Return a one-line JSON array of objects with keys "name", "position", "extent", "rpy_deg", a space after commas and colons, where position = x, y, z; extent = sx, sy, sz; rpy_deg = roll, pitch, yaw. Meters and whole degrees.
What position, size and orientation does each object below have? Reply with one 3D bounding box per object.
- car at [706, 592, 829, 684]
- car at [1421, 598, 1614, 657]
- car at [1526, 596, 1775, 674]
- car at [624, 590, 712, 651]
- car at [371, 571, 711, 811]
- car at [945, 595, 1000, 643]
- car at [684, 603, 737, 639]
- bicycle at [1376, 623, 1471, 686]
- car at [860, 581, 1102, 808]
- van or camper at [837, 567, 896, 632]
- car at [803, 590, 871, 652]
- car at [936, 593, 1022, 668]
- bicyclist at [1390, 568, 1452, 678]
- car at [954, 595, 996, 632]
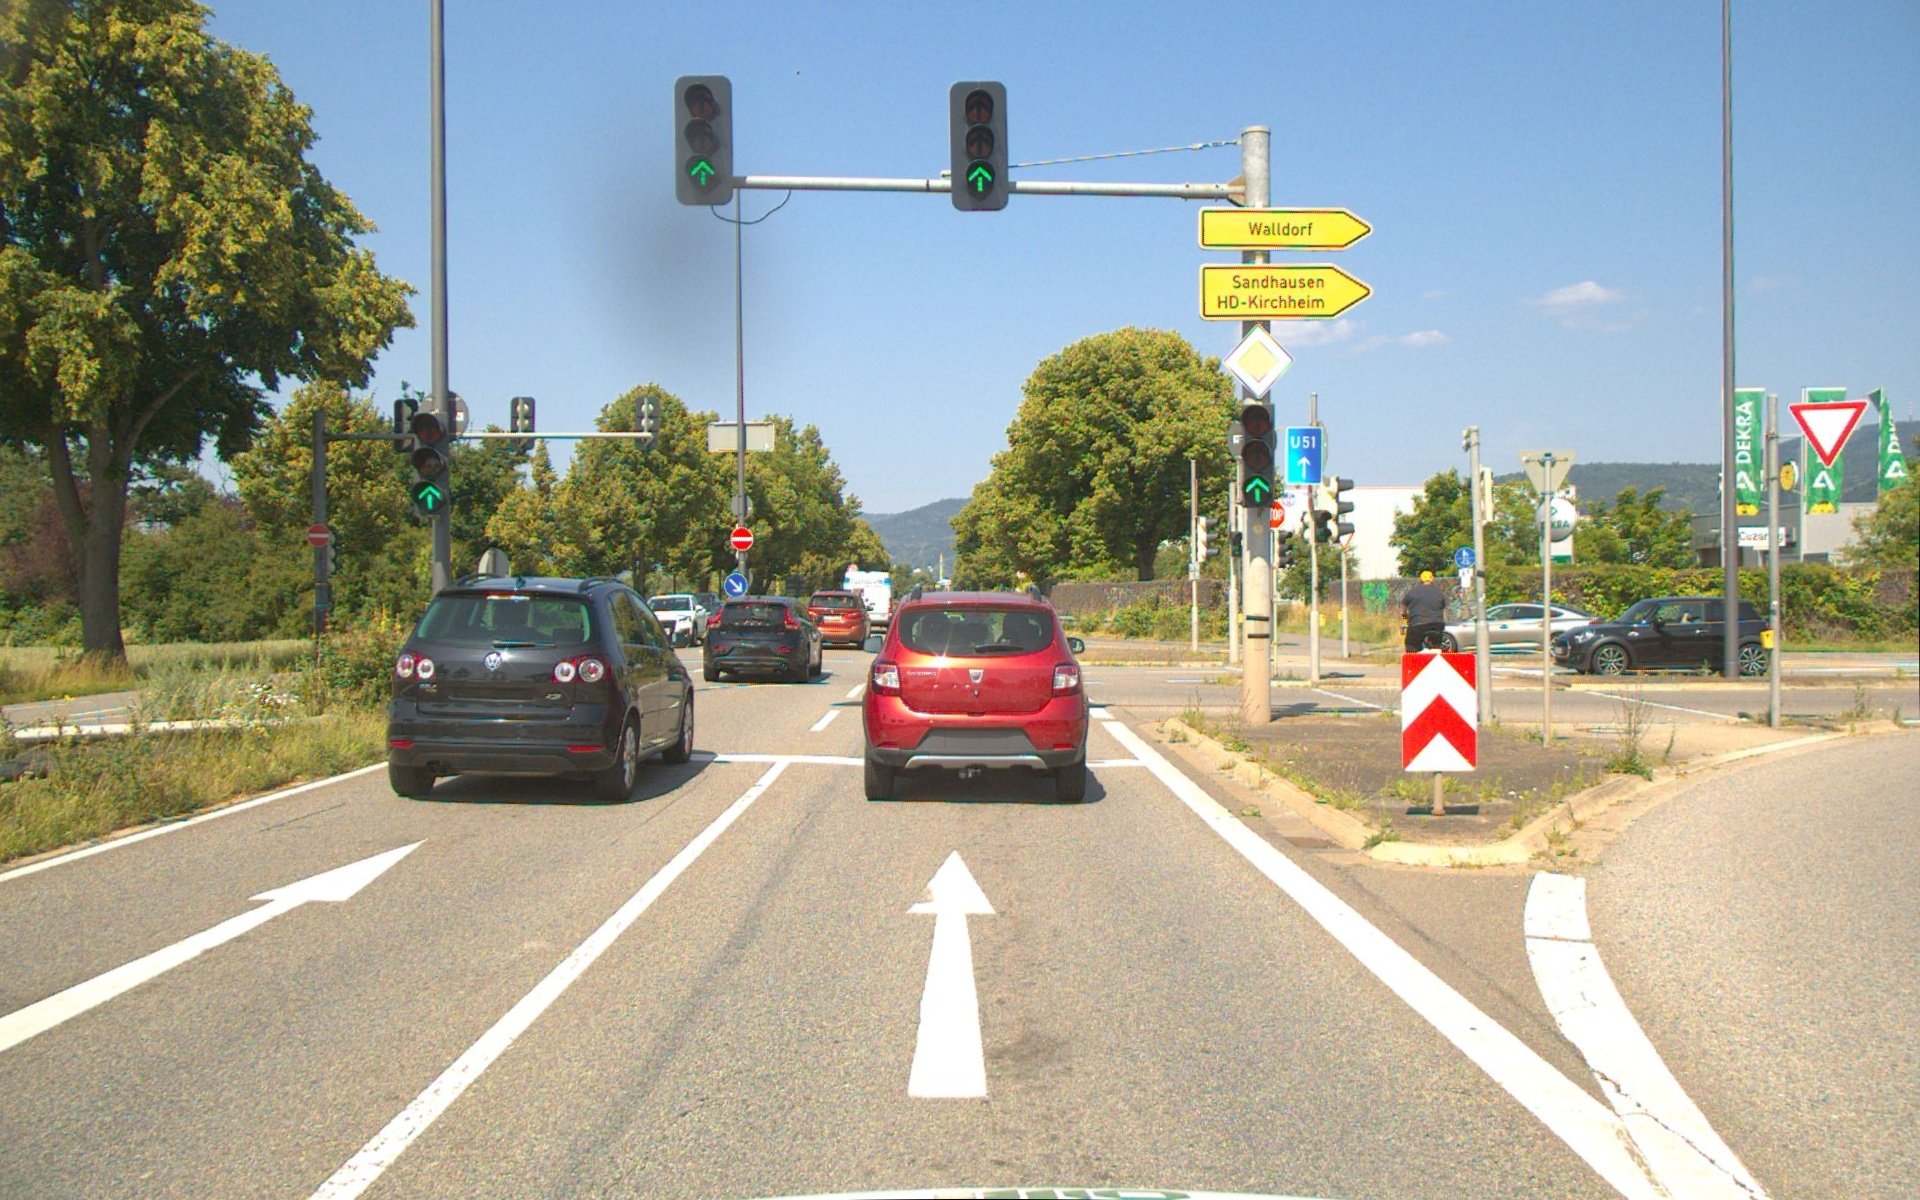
[{"name": "car", "position": [-3.271, 0.602, 28.716], "extent": [1.667, 1.467, 3.955], "rpy_deg": [0, 0, 0]}, {"name": "car", "position": [13.534, 0.660, 40.193], "extent": [4.277, 1.350, 1.805], "rpy_deg": [-1, 0, 25]}, {"name": "car", "position": [12.582, 0.624, 30.344], "extent": [3.901, 1.350, 1.808], "rpy_deg": [-1, 0, 10]}, {"name": "car", "position": [-8.566, 0.561, 48.821], "extent": [1.953, 1.699, 3.999], "rpy_deg": [-1, 0, -1]}, {"name": "car", "position": [-3.134, 0.603, 13.161], "extent": [1.688, 1.603, 3.892], "rpy_deg": [1, 0, 0]}, {"name": "car", "position": [0.434, 0.599, 54.343], "extent": [1.713, 1.483, 3.677], "rpy_deg": [0, 0, 1]}, {"name": "car", "position": [-8.876, 0.716, 58.986], "extent": [1.444, 1.205, 3.204], "rpy_deg": [-1, 0, -1]}, {"name": "bicycle", "position": [7.716, 0.885, 27.697], "extent": [0.746, 0.931, 2.779], "rpy_deg": [-1, 0, -1]}, {"name": "car", "position": [0.187, 0.671, 13.647], "extent": [1.713, 1.603, 3.677], "rpy_deg": [1, 0, 1]}, {"name": "van or camper", "position": [-3.597, -0.027, 64.073], "extent": [2.135, 2.343, 4.824], "rpy_deg": [1, 0, -3]}, {"name": "car", "position": [-3.358, 0.547, 45.567], "extent": [1.689, 1.628, 3.954], "rpy_deg": [0, 0, -2]}, {"name": "car", "position": [0.415, 0.598, 34.921], "extent": [1.713, 1.483, 3.677], "rpy_deg": [0, 0, 1]}, {"name": "bicyclist", "position": [7.712, 0.372, 27.697], "extent": [0.786, 1.802, 0.808], "rpy_deg": [-1, 0, -2]}, {"name": "car", "position": [0.639, 0.524, 68.935], "extent": [1.713, 1.483, 3.677], "rpy_deg": [0, 0, 1]}]
